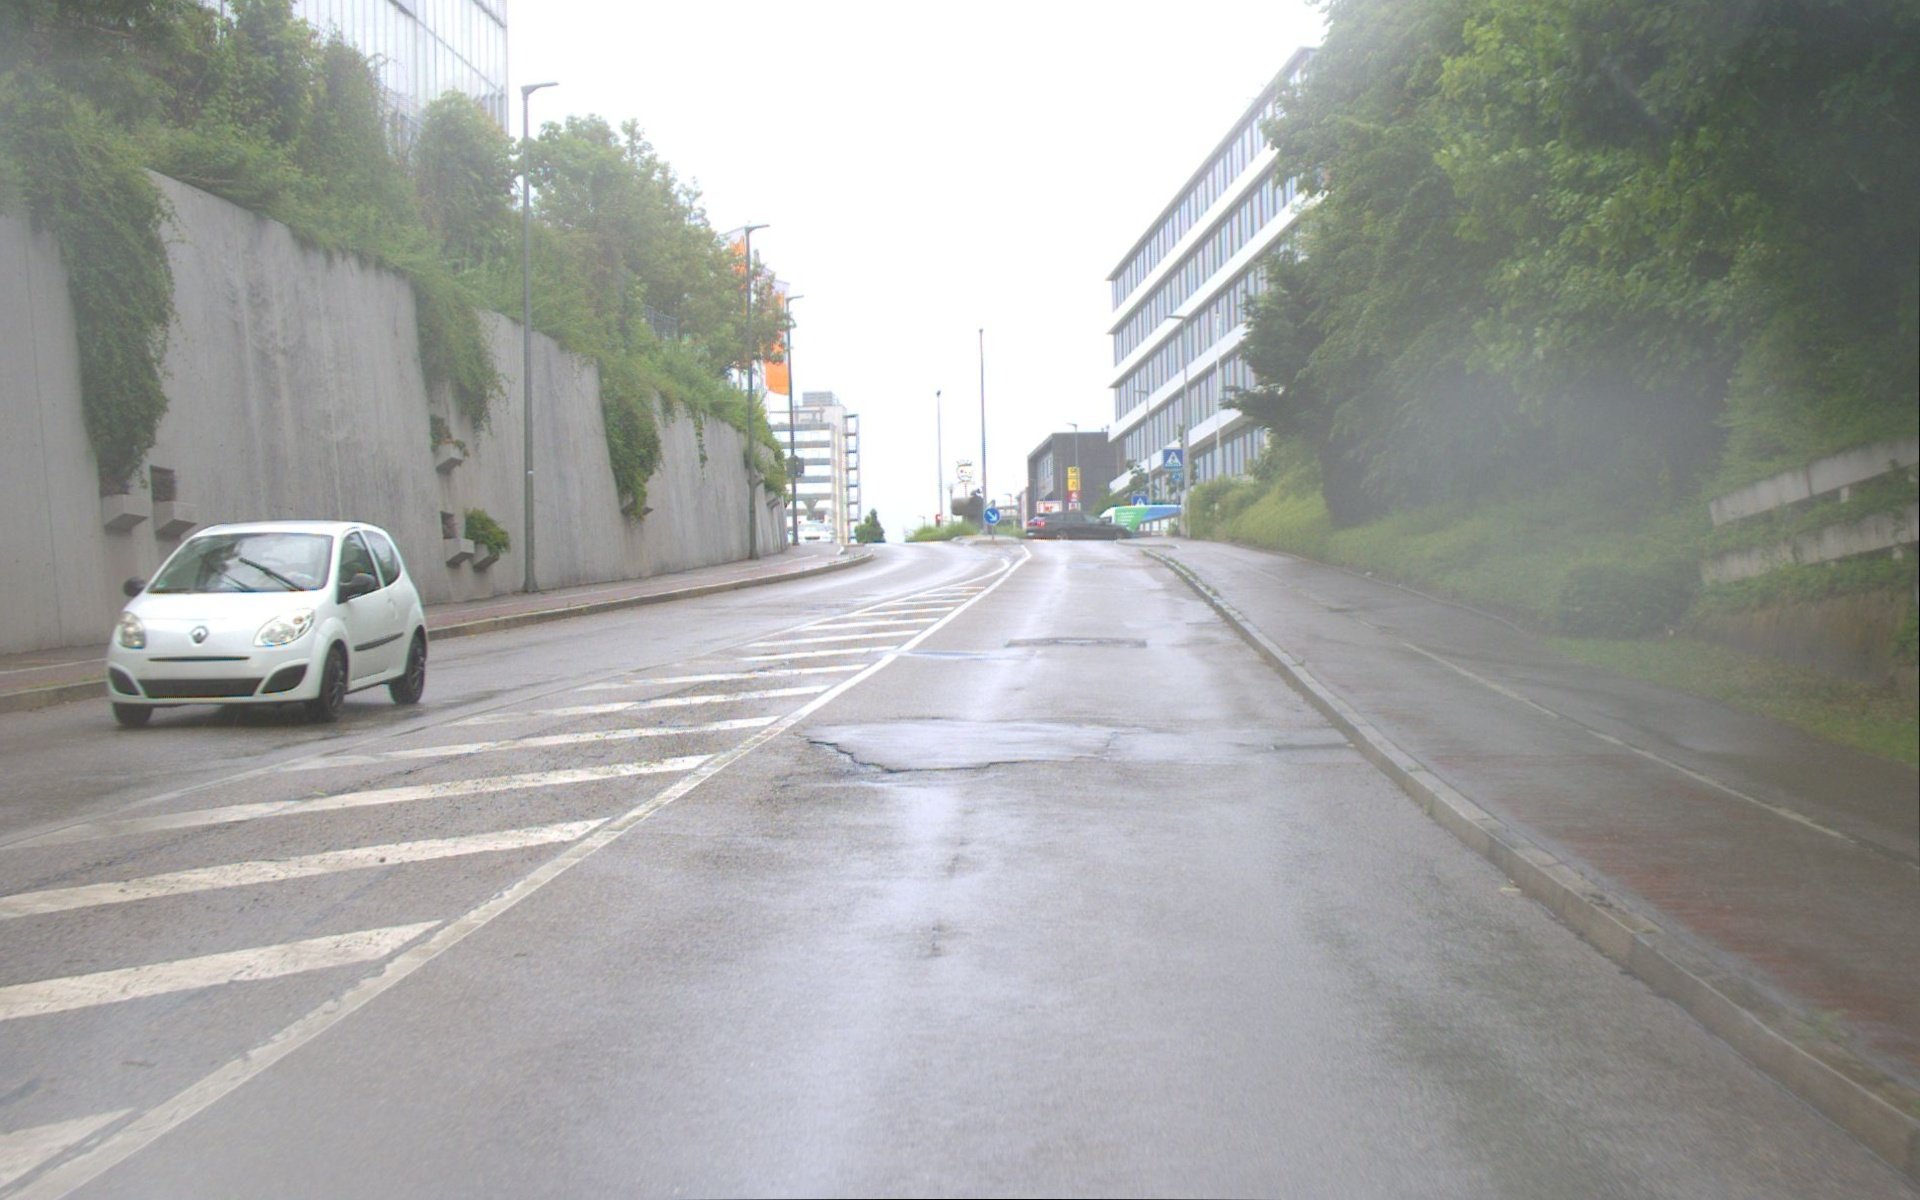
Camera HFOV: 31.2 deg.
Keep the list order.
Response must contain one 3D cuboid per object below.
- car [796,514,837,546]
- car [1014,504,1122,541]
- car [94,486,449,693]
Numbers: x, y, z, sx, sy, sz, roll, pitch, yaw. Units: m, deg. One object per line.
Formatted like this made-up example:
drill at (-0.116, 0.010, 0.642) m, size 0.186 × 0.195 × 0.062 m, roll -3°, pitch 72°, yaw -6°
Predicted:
car at (-6.314, -3.076, 150.912) m, size 1.640 × 1.357 × 4.250 m, roll 1°, pitch 1°, yaw -4°
car at (4.515, -3.231, 143.206) m, size 4.204 × 1.405 × 1.799 m, roll -1°, pitch -2°, yaw 14°
car at (-5.107, -0.064, 25.974) m, size 1.513 × 1.443 × 3.815 m, roll 0°, pitch 0°, yaw 7°
